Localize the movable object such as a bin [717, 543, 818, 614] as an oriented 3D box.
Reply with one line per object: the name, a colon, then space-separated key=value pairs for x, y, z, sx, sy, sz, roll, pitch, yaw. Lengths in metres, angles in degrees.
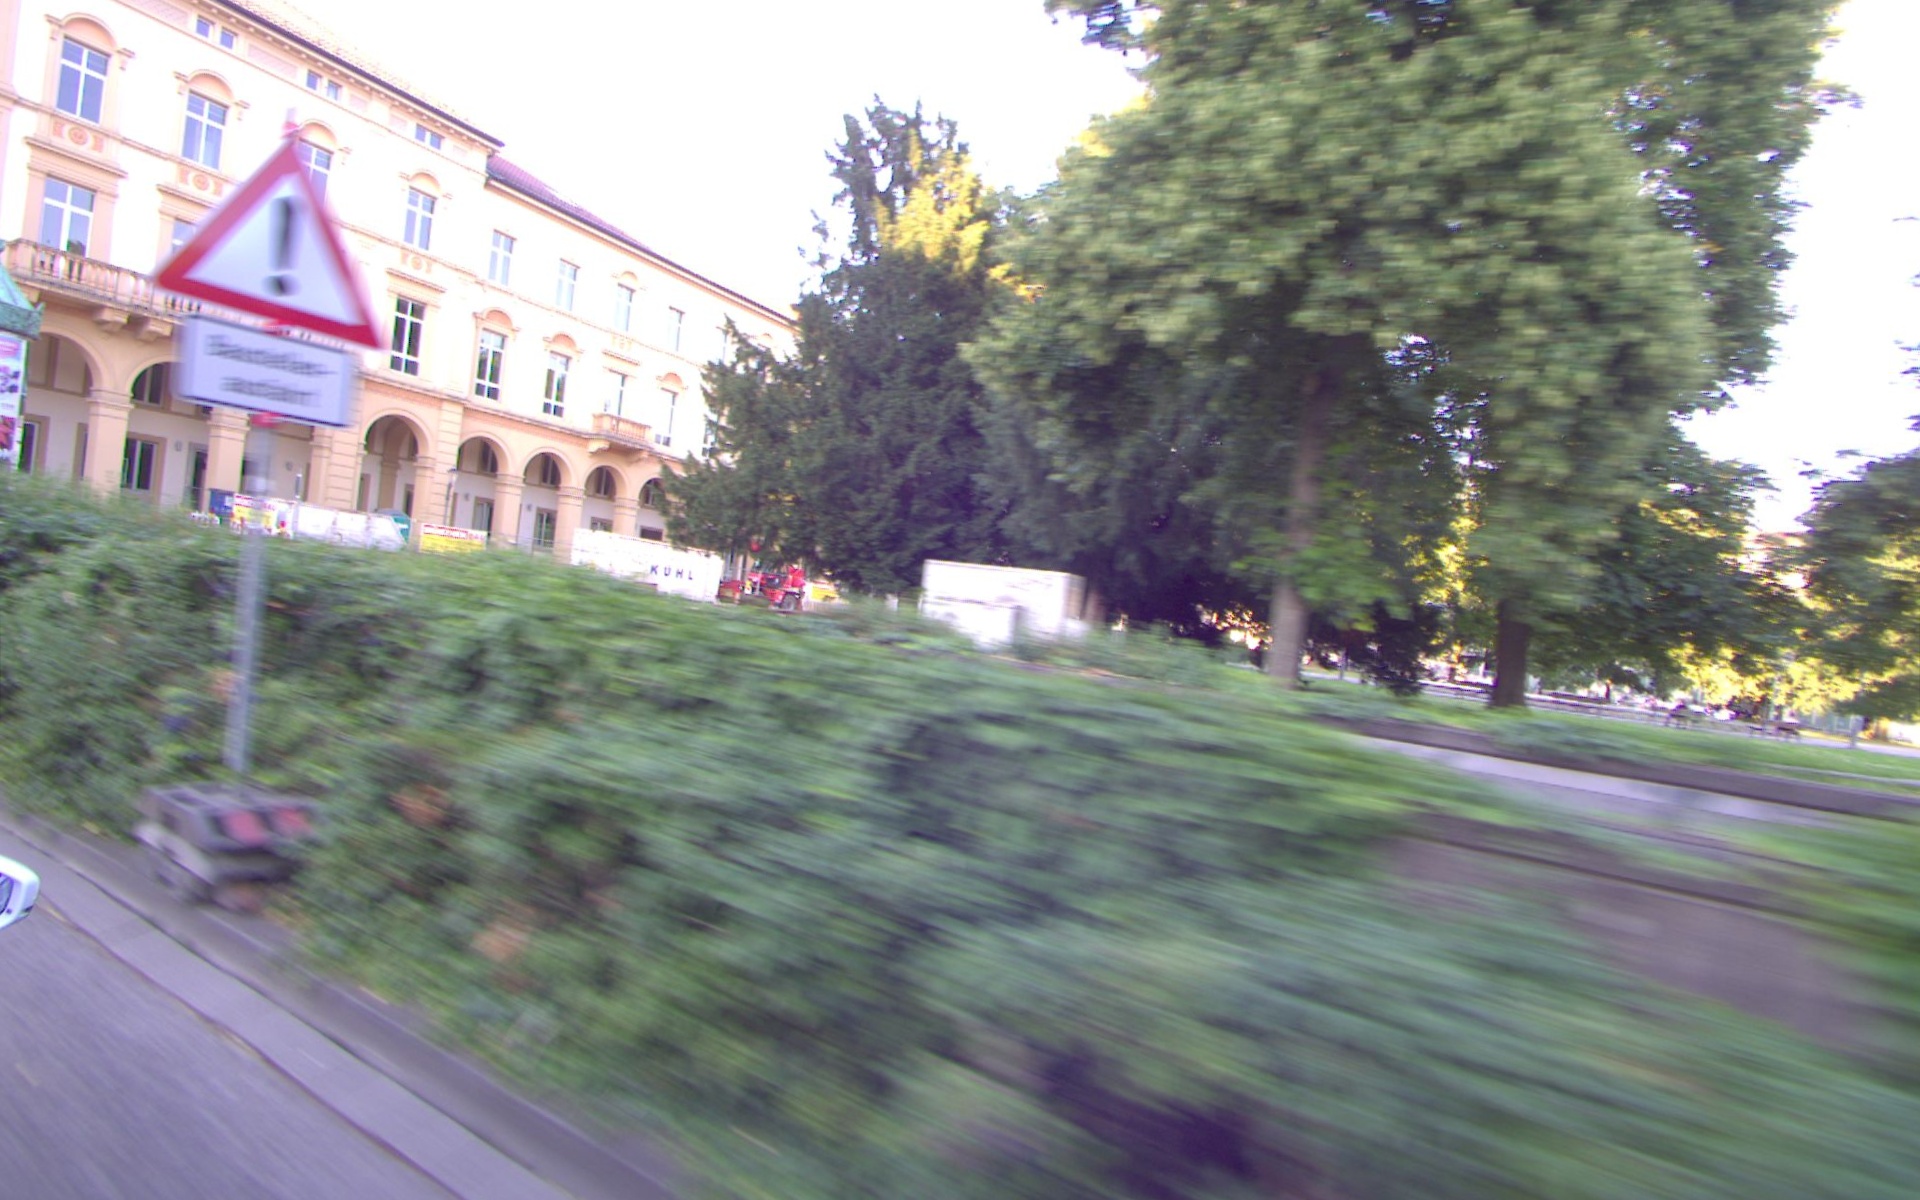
movable object such as a bin: x=-9.664 y=-1.026 z=50.896 sx=1.967 sy=3.045 sz=4.892 roll=7 pitch=0 yaw=32

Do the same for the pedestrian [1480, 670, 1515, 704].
pedestrian: x=23.298 y=3.783 z=43.596 sx=1.061 sy=1.308 sz=0.834 roll=8 pitch=1 yaw=-40

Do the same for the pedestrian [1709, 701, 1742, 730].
pedestrian: x=42.768 y=6.439 z=56.212 sx=1.134 sy=1.387 sz=0.831 roll=8 pitch=1 yaw=-22

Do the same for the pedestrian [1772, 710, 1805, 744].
pedestrian: x=32.954 y=5.048 z=40.013 sx=0.724 sy=1.215 sz=1.103 roll=7 pitch=1 yaw=30

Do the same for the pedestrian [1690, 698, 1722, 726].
pedestrian: x=42.315 y=6.352 z=57.049 sx=1.134 sy=1.387 sz=0.831 roll=8 pitch=1 yaw=-22

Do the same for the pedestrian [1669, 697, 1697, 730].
pedestrian: x=28.827 y=4.515 z=40.108 sx=0.653 sy=1.215 sz=1.103 roll=7 pitch=1 yaw=30
